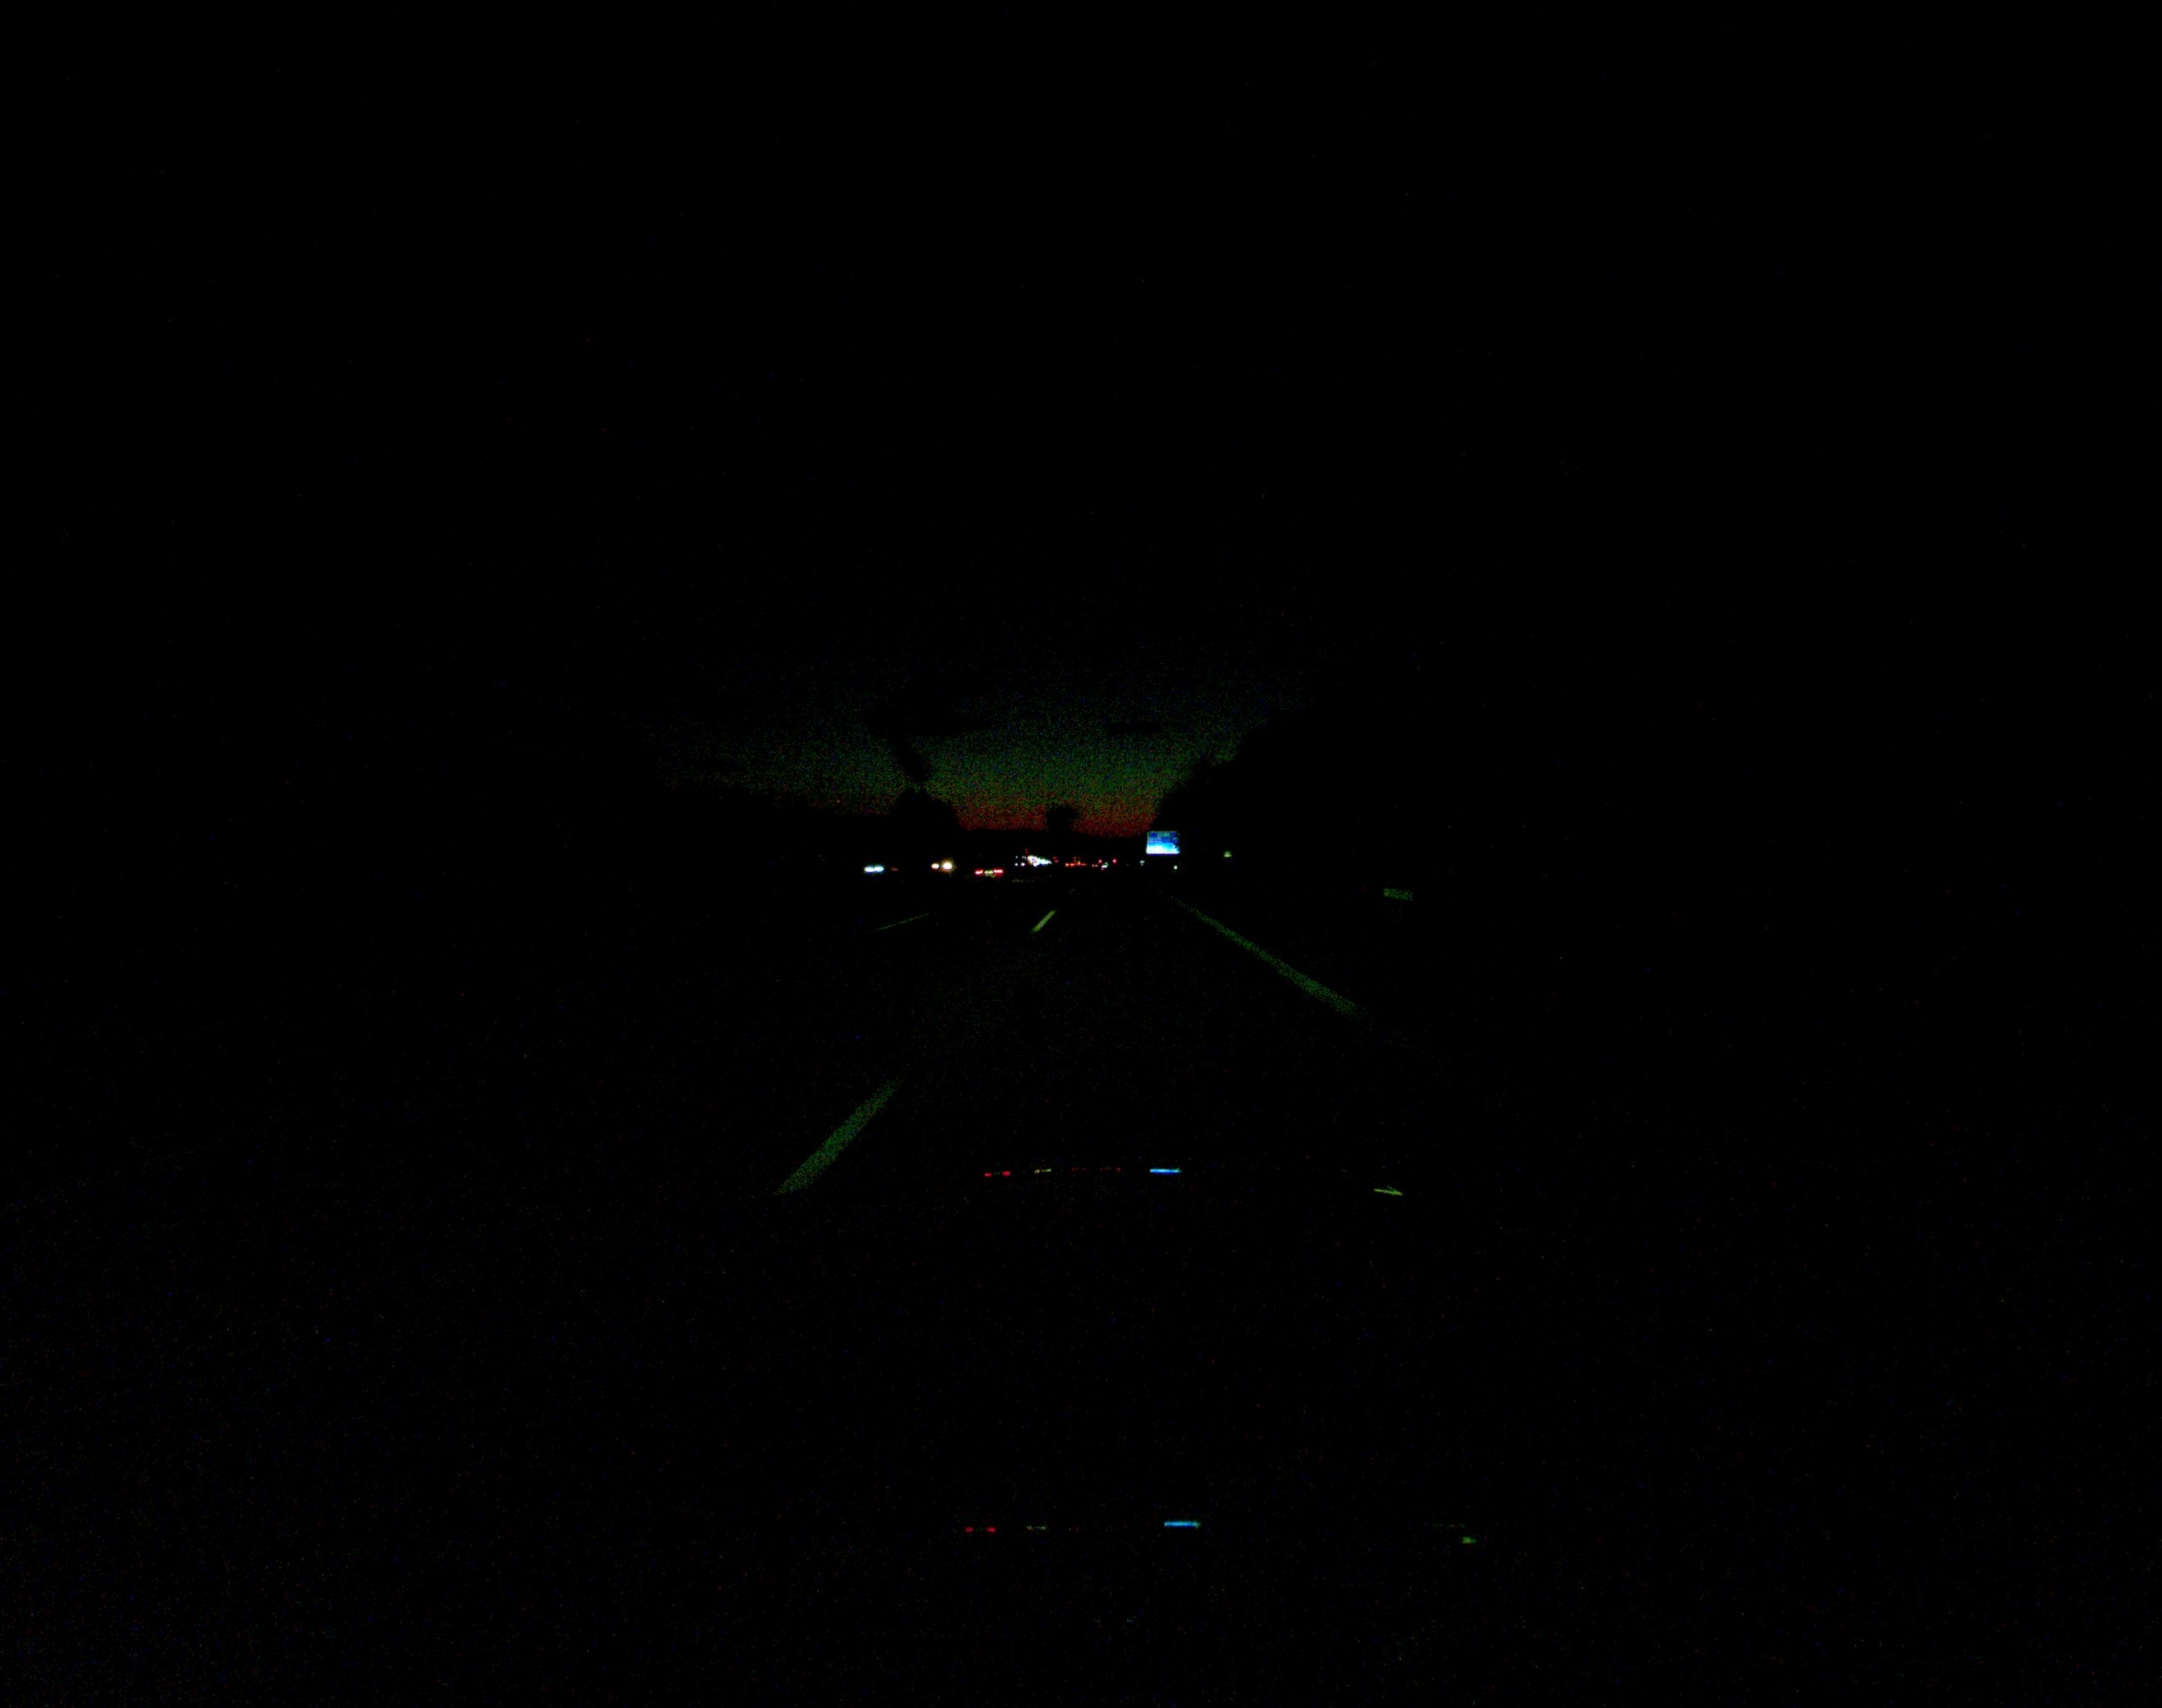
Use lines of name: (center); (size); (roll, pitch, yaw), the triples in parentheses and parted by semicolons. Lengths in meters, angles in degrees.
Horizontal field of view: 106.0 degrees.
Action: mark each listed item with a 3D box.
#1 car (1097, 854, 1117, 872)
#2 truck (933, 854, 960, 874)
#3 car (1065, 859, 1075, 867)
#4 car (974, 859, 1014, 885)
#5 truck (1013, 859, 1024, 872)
car: (2.995, 1.011, 92.725); (2.187, 1.955, 4.767); (-2, 0, 3)
truck: (-18.894, 1.339, 114.986); (2.188, 2.726, 7.627); (2, 0, 2)
car: (-2.763, 2.264, 204.773); (2.188, 1.955, 4.635); (1, 0, 2)
car: (-5.421, 1.078, 51.294); (1.773, 1.487, 5.256); (1, 0, 2)
truck: (-18.845, 3.340, 245.847); (2.510, 3.852, 9.067); (-1, -1, 2)
